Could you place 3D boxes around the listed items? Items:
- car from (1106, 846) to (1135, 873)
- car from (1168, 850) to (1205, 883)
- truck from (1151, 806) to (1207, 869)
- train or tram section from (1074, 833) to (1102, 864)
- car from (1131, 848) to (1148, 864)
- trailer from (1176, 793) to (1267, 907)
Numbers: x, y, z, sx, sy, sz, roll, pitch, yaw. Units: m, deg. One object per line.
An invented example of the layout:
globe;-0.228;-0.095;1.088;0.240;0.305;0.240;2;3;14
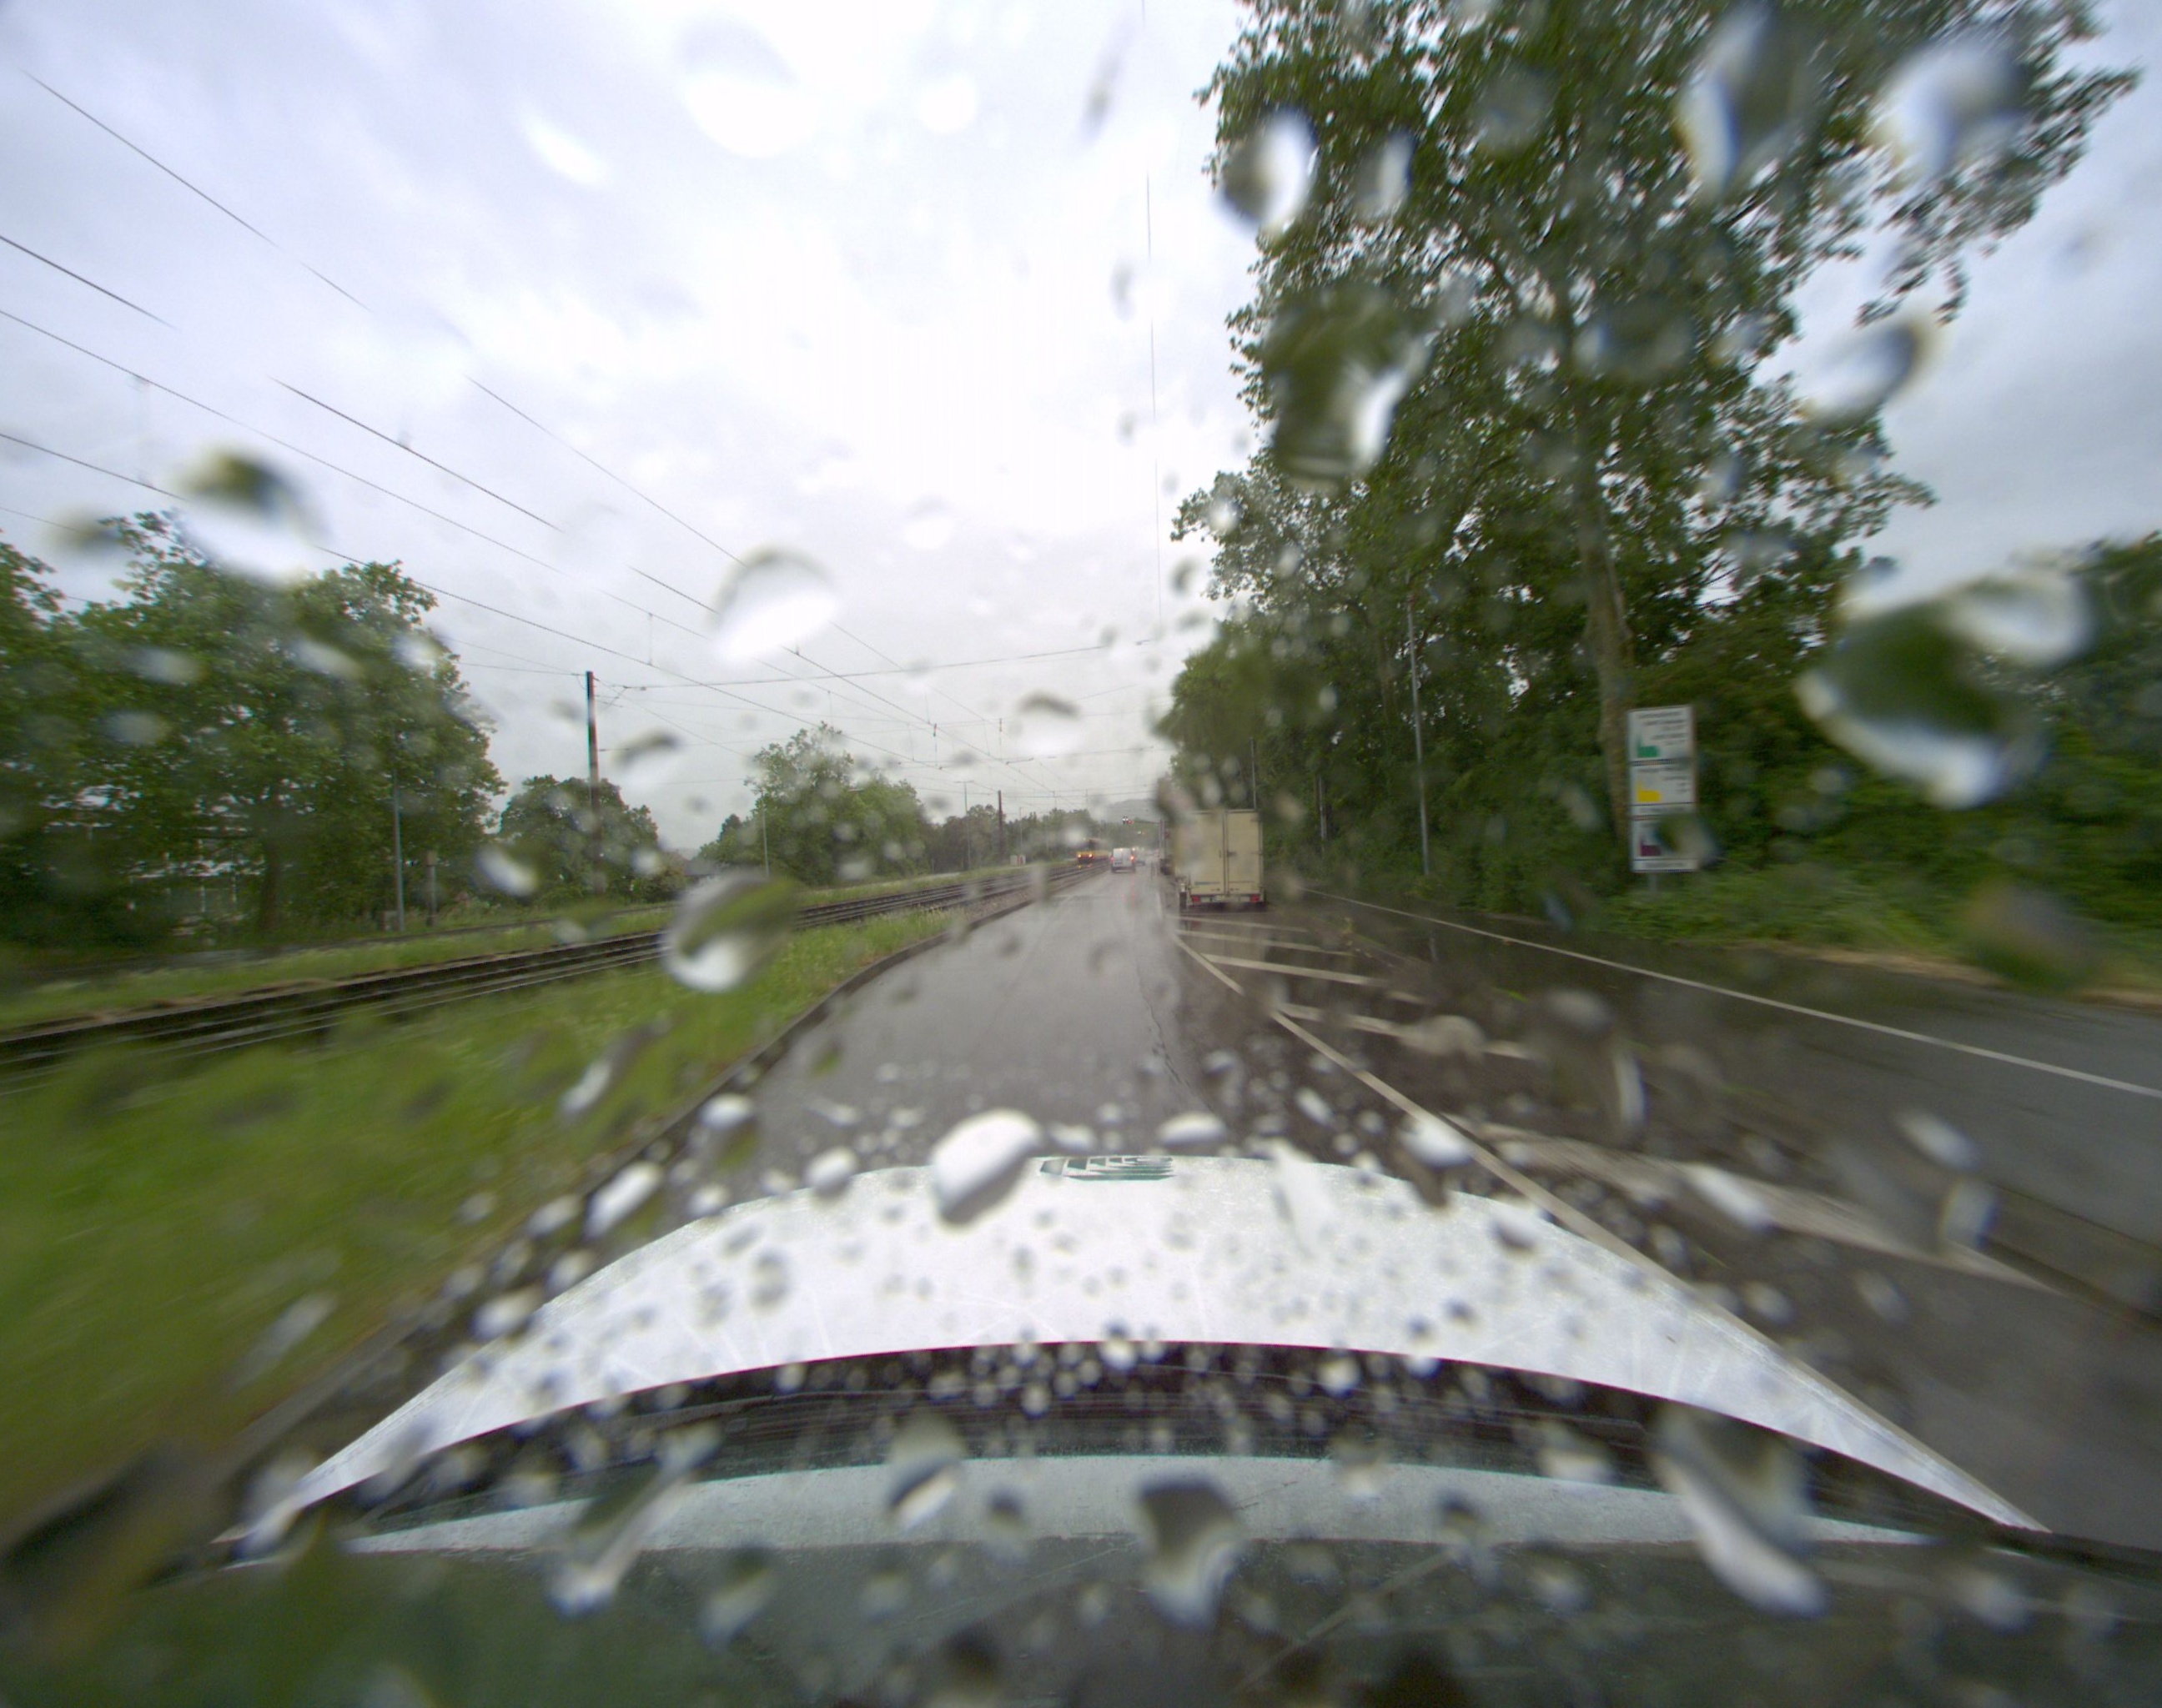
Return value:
car;2.933;0.409;61.215;1.986;1.849;4.001;-2;0;1
car;5.338;0.603;41.099;1.704;1.529;4.009;-2;0;7
truck;6.358;-0.959;54.292;2.765;3.704;9.856;-2;-1;2
train or tram section;1.106;-0.784;116.351;2.793;4.149;13.039;-2;0;5
car;6.474;0.261;89.763;1.778;1.642;3.973;-2;-1;5
trailer;3.855;-0.080;23.055;2.154;2.757;5.688;-2;-1;7
